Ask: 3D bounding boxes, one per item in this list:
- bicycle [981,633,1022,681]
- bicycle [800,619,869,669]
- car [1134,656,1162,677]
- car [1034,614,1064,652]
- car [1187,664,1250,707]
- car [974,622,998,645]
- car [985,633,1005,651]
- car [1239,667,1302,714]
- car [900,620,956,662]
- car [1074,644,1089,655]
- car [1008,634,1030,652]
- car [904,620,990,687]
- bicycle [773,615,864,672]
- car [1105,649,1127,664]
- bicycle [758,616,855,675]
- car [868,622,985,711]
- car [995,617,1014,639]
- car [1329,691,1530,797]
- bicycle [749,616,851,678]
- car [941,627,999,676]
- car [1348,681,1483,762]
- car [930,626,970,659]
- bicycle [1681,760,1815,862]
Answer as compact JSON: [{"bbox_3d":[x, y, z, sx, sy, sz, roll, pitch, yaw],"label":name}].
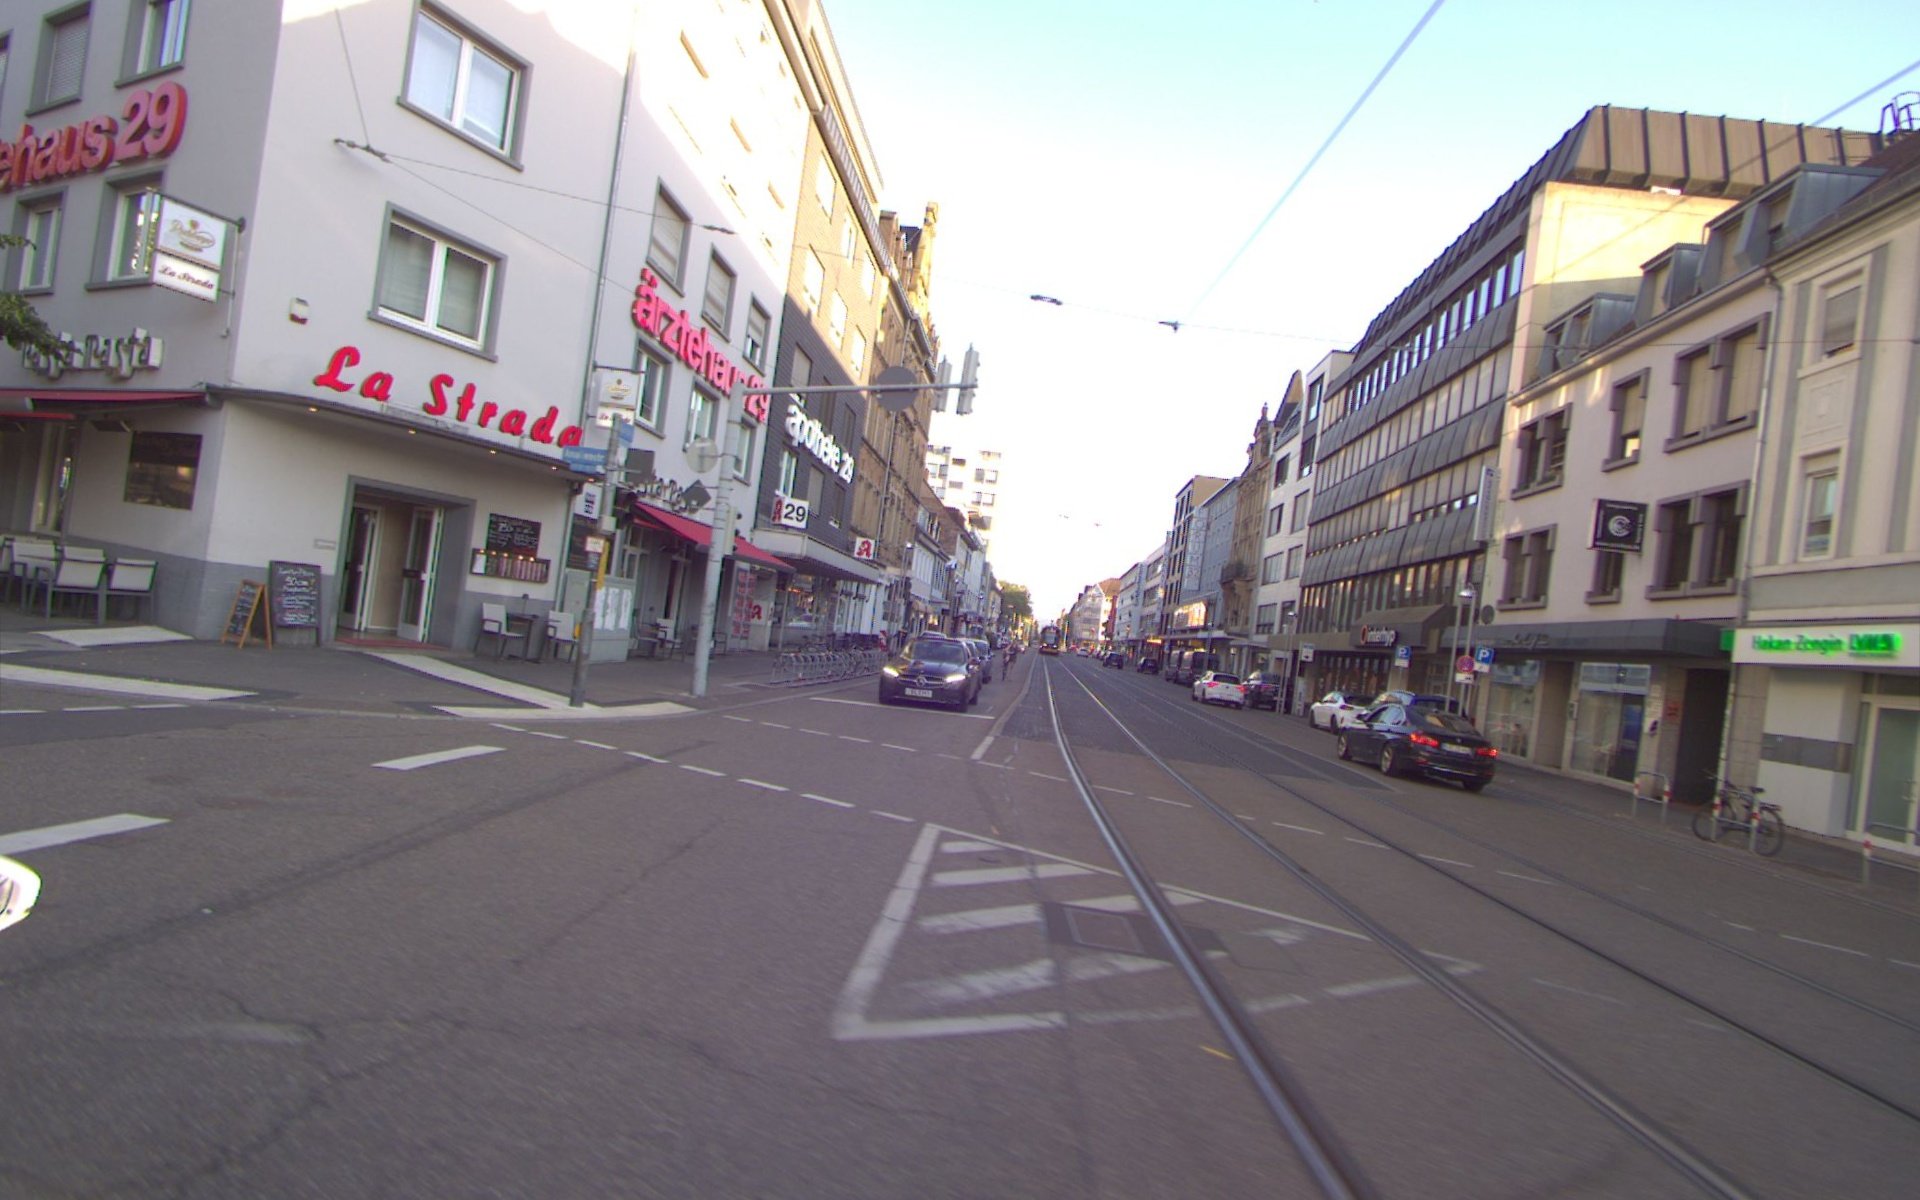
[{"bbox_3d":[1.601,2.204,39.682,0.848,1.651,3.050,8,-1,-9],"label":"bicycle"},{"bbox_3d":[-3.576,1.263,28.738,1.774,1.169,0.678,8,-2,-1],"label":"bicycle"},{"bbox_3d":[18.470,6.482,98.905,2.030,1.586,4.514,10,-2,5],"label":"car"},{"bbox_3d":[11.356,4.405,129.273,2.914,4.089,12.269,7,-3,4],"label":"car"},{"bbox_3d":[11.348,3.742,44.469,1.739,1.399,4.514,10,-2,5],"label":"car"},{"bbox_3d":[2.596,3.339,99.565,1.954,1.836,5.066,7,-3,5],"label":"car"},{"bbox_3d":[4.205,5.045,119.667,1.938,1.723,4.992,7,-3,5],"label":"car"},{"bbox_3d":[14.156,4.096,46.066,1.779,1.649,3.755,10,-1,5],"label":"car"},{"bbox_3d":[-1.583,2.181,52.310,1.954,1.723,4.993,7,-3,8],"label":"car"},{"bbox_3d":[20.309,8.268,168.319,1.963,1.586,4.514,10,-2,5],"label":"car"},{"bbox_3d":[6.743,4.925,114.778,1.962,1.546,4.518,7,-3,8],"label":"car"},{"bbox_3d":[-0.260,1.454,27.739,1.962,1.541,4.403,4,-2,3],"label":"car"},{"bbox_3d":[-3.861,1.186,27.494,2.253,1.207,0.655,8,0,0],"label":"bicycle"},{"bbox_3d":[15.813,5.696,102.002,1.761,1.186,4.514,10,-2,5],"label":"car"},{"bbox_3d":[-3.934,1.182,25.860,2.253,1.206,0.656,8,-2,-1],"label":"bicycle"},{"bbox_3d":[-0.585,1.339,21.427,1.944,1.487,4.483,6,-1,4],"label":"car"},{"bbox_3d":[6.259,3.926,140.624,1.962,2.521,4.518,7,-3,8],"label":"car"},{"bbox_3d":[9.197,2.768,20.190,1.963,1.434,4.517,11,-3,4],"label":"car"},{"bbox_3d":[-3.900,1.156,24.603,2.253,1.206,0.656,8,-2,0],"label":"bicycle"},{"bbox_3d":[0.403,1.850,35.620,1.736,1.435,3.686,7,-3,4],"label":"car"},{"bbox_3d":[12.832,3.371,28.685,1.962,1.722,4.515,7,-2,5],"label":"car"},{"bbox_3d":[-0.581,2.761,64.291,1.954,1.723,4.992,7,-3,5],"label":"car"},{"bbox_3d":[11.826,3.139,15.176,0.683,1.197,1.876,7,-3,10],"label":"bicycle"}]
